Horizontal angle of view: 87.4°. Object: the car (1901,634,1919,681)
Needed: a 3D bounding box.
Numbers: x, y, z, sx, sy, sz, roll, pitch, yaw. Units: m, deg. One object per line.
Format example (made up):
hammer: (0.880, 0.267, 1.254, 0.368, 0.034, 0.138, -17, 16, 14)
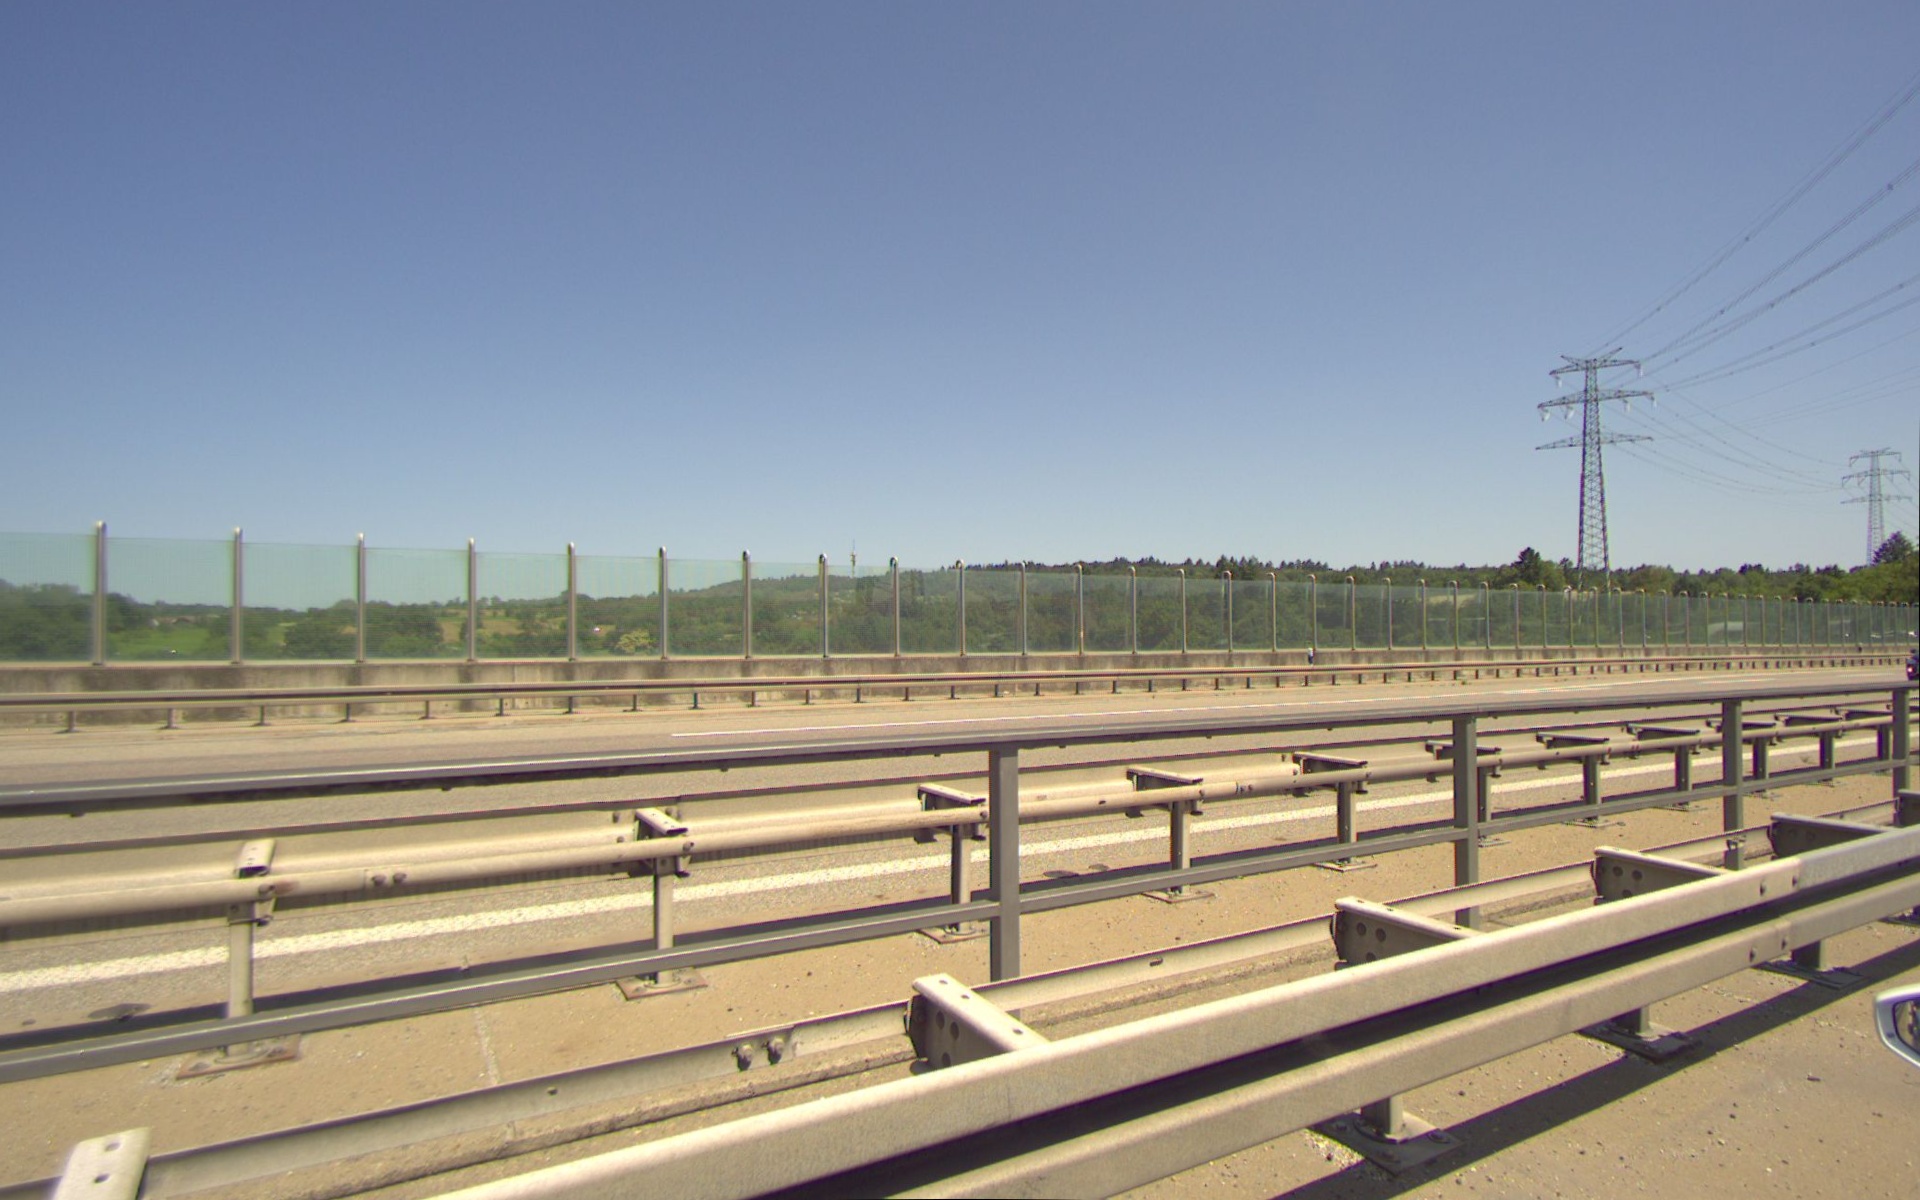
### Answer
car: (32.755, 1.847, 32.848, 4.368, 1.511, 1.721, 1, -3, -31)
